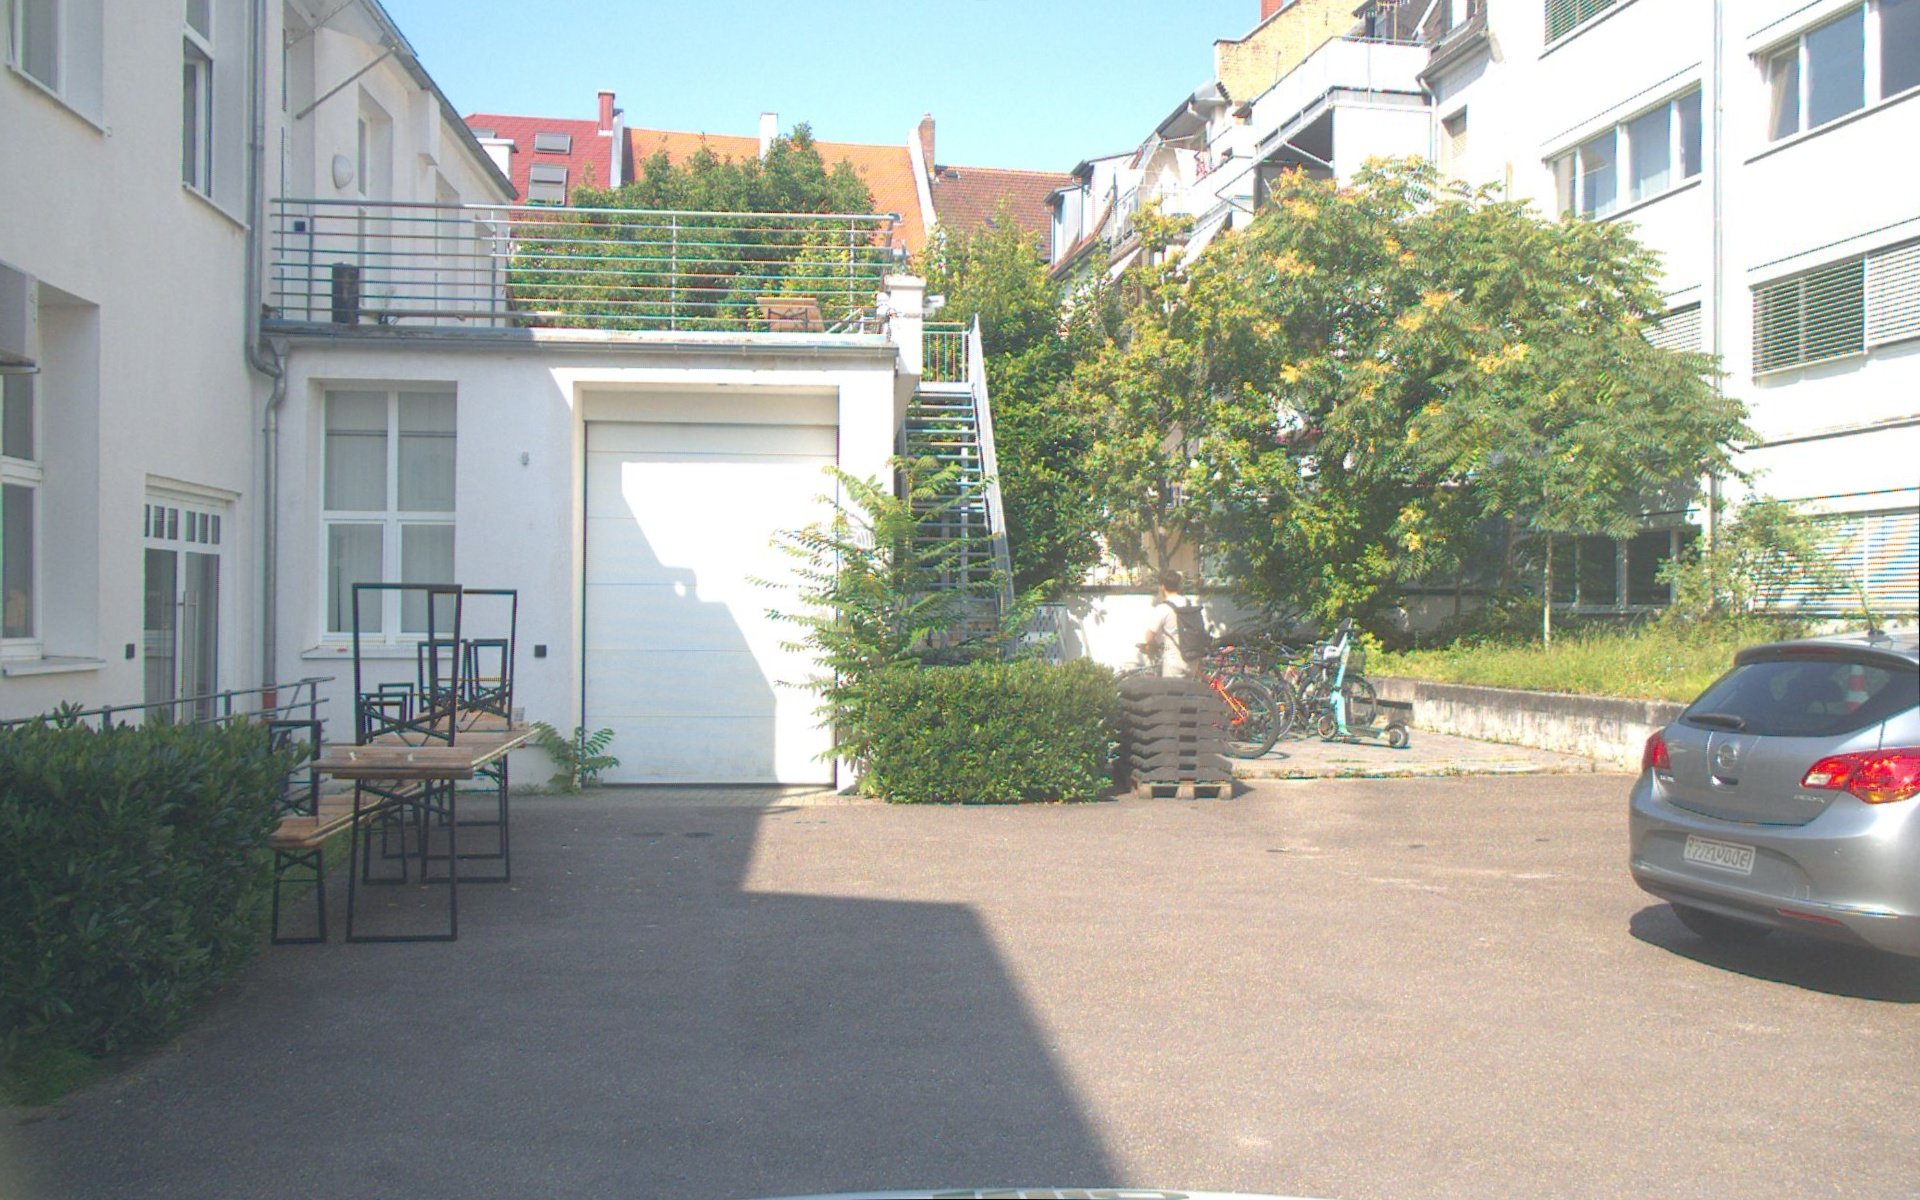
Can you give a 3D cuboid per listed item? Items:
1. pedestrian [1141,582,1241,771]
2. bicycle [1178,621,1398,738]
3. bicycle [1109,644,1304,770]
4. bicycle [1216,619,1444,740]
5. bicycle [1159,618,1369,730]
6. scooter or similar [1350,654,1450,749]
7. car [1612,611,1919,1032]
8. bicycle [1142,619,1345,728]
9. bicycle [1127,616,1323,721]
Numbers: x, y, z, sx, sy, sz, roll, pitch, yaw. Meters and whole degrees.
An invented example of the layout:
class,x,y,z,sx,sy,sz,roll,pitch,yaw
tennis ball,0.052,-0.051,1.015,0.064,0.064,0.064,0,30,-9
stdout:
class,x,y,z,sx,sy,sz,roll,pitch,yaw
pedestrian,2.281,0.732,16.294,0.600,1.803,0.856,0,-1,40
bicycle,3.688,0.886,18.640,2.364,1.268,0.526,1,-1,-5
bicycle,2.442,1.044,16.575,1.956,1.163,0.487,0,0,39
bicycle,4.021,0.858,18.001,2.364,1.268,0.526,1,-1,-5
bicycle,3.559,0.866,19.428,2.364,1.268,0.526,1,-1,-5
scooter or similar,4.655,1.061,17.530,0.357,0.940,0.984,1,-1,-42
car,5.027,0.802,7.338,3.837,1.491,1.654,0,0,-19
bicycle,3.428,0.880,20.034,2.364,1.268,0.526,1,-1,-5
bicycle,3.314,0.855,20.741,2.364,1.268,0.526,1,-1,-5
